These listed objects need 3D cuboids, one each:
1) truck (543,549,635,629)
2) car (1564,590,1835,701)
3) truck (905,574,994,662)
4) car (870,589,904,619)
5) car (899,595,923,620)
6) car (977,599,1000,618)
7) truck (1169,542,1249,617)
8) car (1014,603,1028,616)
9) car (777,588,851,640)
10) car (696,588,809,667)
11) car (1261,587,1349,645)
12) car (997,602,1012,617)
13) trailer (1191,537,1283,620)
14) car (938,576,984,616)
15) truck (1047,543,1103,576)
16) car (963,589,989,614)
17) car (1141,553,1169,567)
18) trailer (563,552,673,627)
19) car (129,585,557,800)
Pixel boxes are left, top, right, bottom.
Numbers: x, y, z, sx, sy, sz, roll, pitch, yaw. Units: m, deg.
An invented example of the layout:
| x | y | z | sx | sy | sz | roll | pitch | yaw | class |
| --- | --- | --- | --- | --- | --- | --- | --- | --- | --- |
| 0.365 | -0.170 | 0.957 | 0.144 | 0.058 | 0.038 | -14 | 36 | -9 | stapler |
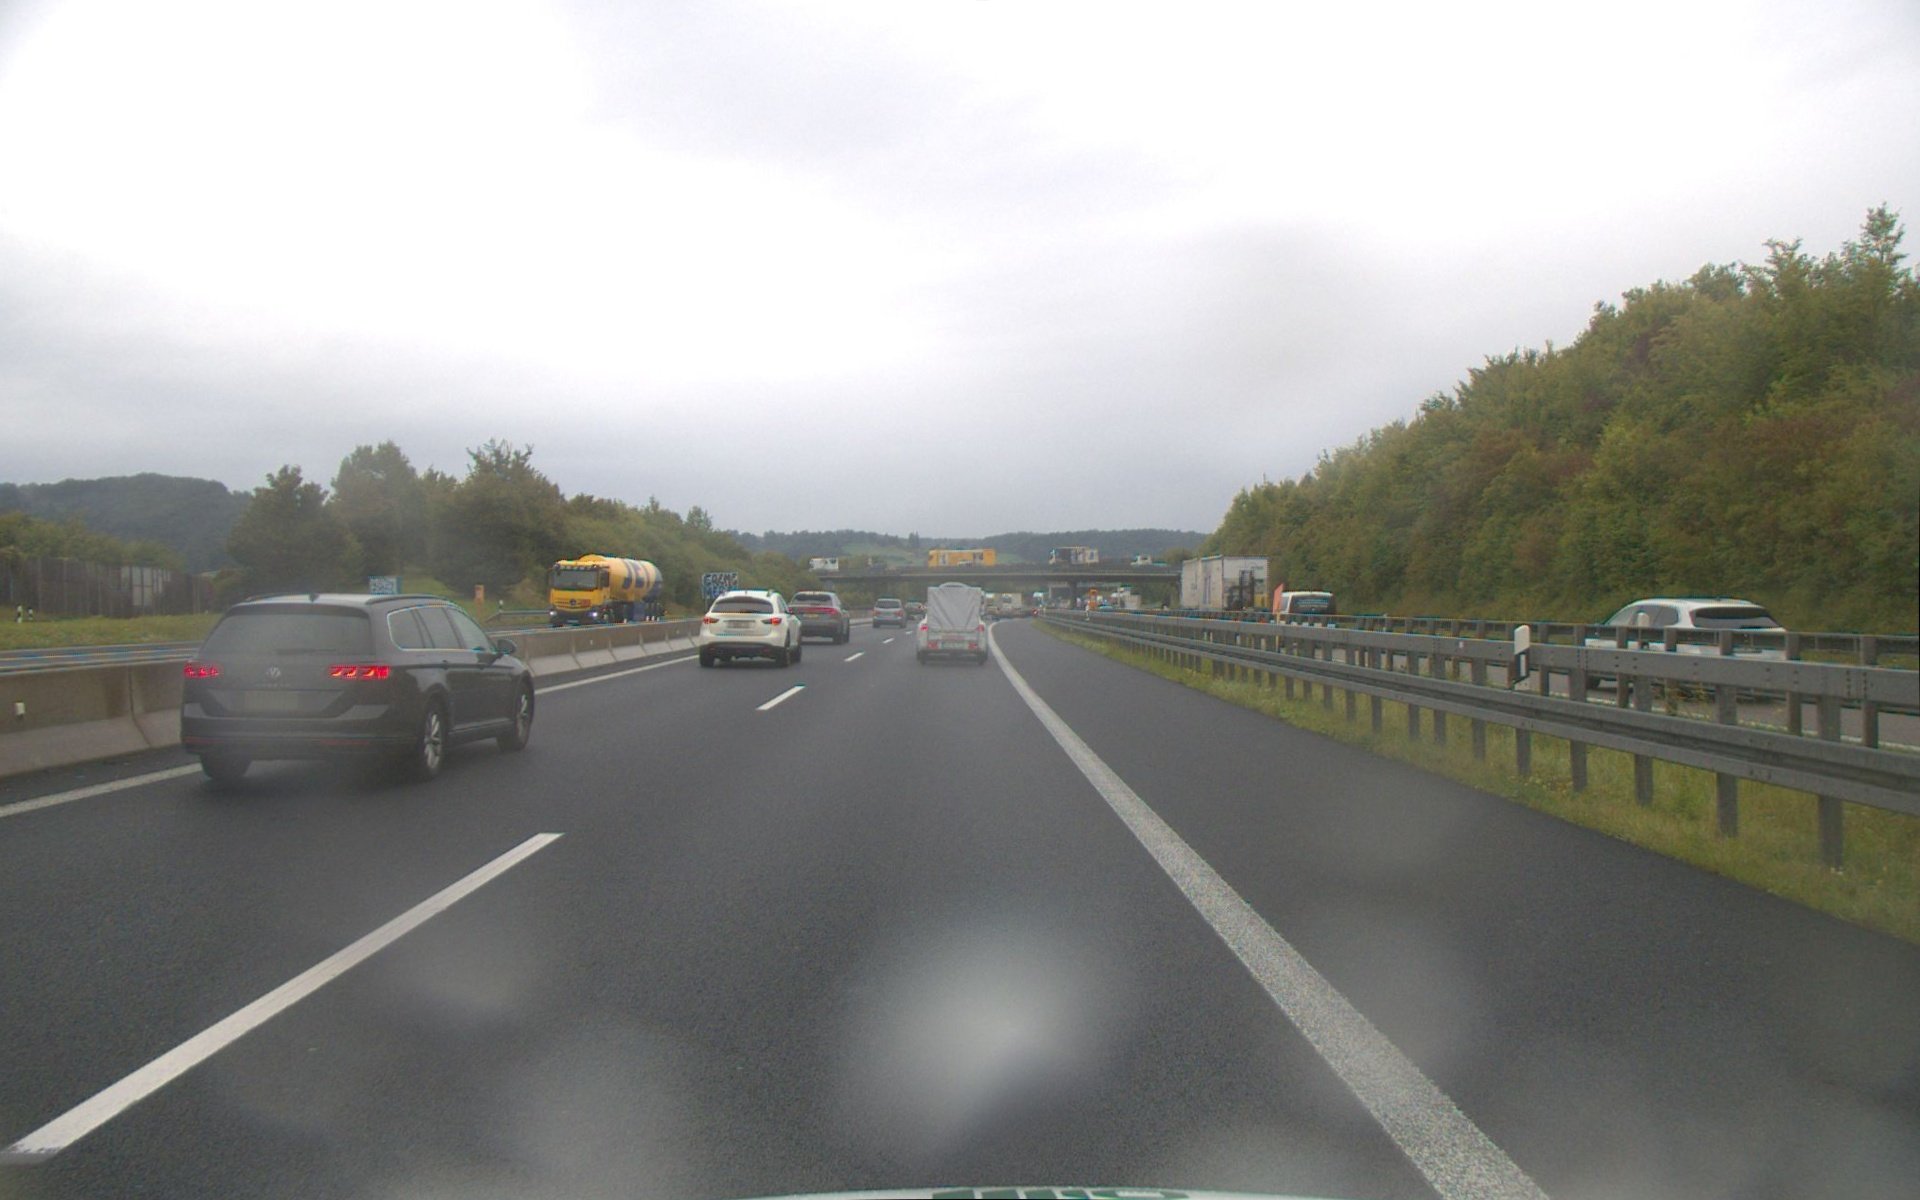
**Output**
| x | y | z | sx | sy | sz | roll | pitch | yaw | class |
| --- | --- | --- | --- | --- | --- | --- | --- | --- | --- |
| -17.020 | -0.485 | 76.136 | 2.704 | 3.458 | 5.847 | 1 | 0 | 1 | truck |
| 11.390 | 0.650 | 25.882 | 1.968 | 1.575 | 4.693 | 0 | 0 | -3 | car |
| -0.167 | 0.399 | 41.650 | 1.977 | 2.020 | 7.214 | 0 | 0 | 2 | truck |
| -4.115 | 0.230 | 93.410 | 1.862 | 1.641 | 4.016 | 0 | 0 | -2 | car |
| -3.751 | 0.527 | 126.033 | 1.804 | 1.851 | 3.999 | 0 | 0 | -2 | car |
| 2.792 | 0.834 | 163.460 | 1.954 | 1.780 | 3.997 | 1 | 0 | -3 | car |
| 15.264 | -1.235 | 102.159 | 3.367 | 4.364 | 10.418 | 0 | 0 | 0 | truck |
| 8.869 | 1.356 | 241.246 | 1.952 | 1.780 | 4.001 | 1 | 0 | 2 | car |
| -4.857 | 0.459 | 55.583 | 2.130 | 1.660 | 4.500 | 0 | 0 | -1 | car |
| -4.592 | 0.575 | 37.188 | 1.935 | 1.668 | 4.501 | 0 | 0 | 0 | car |
| 11.352 | 0.507 | 54.680 | 1.822 | 1.837 | 4.646 | 0 | 0 | -1 | car |
| 5.730 | 1.221 | 213.781 | 1.952 | 1.780 | 4.000 | 1 | 0 | 1 | car |
| 15.214 | -1.156 | 91.708 | 3.367 | 4.364 | 10.454 | 0 | 0 | 0 | trailer |
| 0.097 | -0.266 | 112.750 | 2.954 | 2.662 | 6.076 | 0 | 0 | 1 | car |
| 17.981 | -6.358 | 259.571 | 3.731 | 4.920 | 9.932 | 1 | 0 | -32 | truck |
| 1.388 | 0.108 | 144.071 | 1.954 | 2.071 | 4.149 | 1 | 0 | -3 | car |
| 28.645 | -5.940 | 243.365 | 1.825 | 1.948 | 3.945 | 1 | 0 | -38 | car |
| -16.851 | -0.464 | 82.391 | 2.704 | 3.458 | 11.449 | 1 | 0 | 2 | trailer |
| -4.966 | 0.660 | 14.156 | 1.861 | 1.523 | 4.851 | 0 | 0 | 0 | car |
